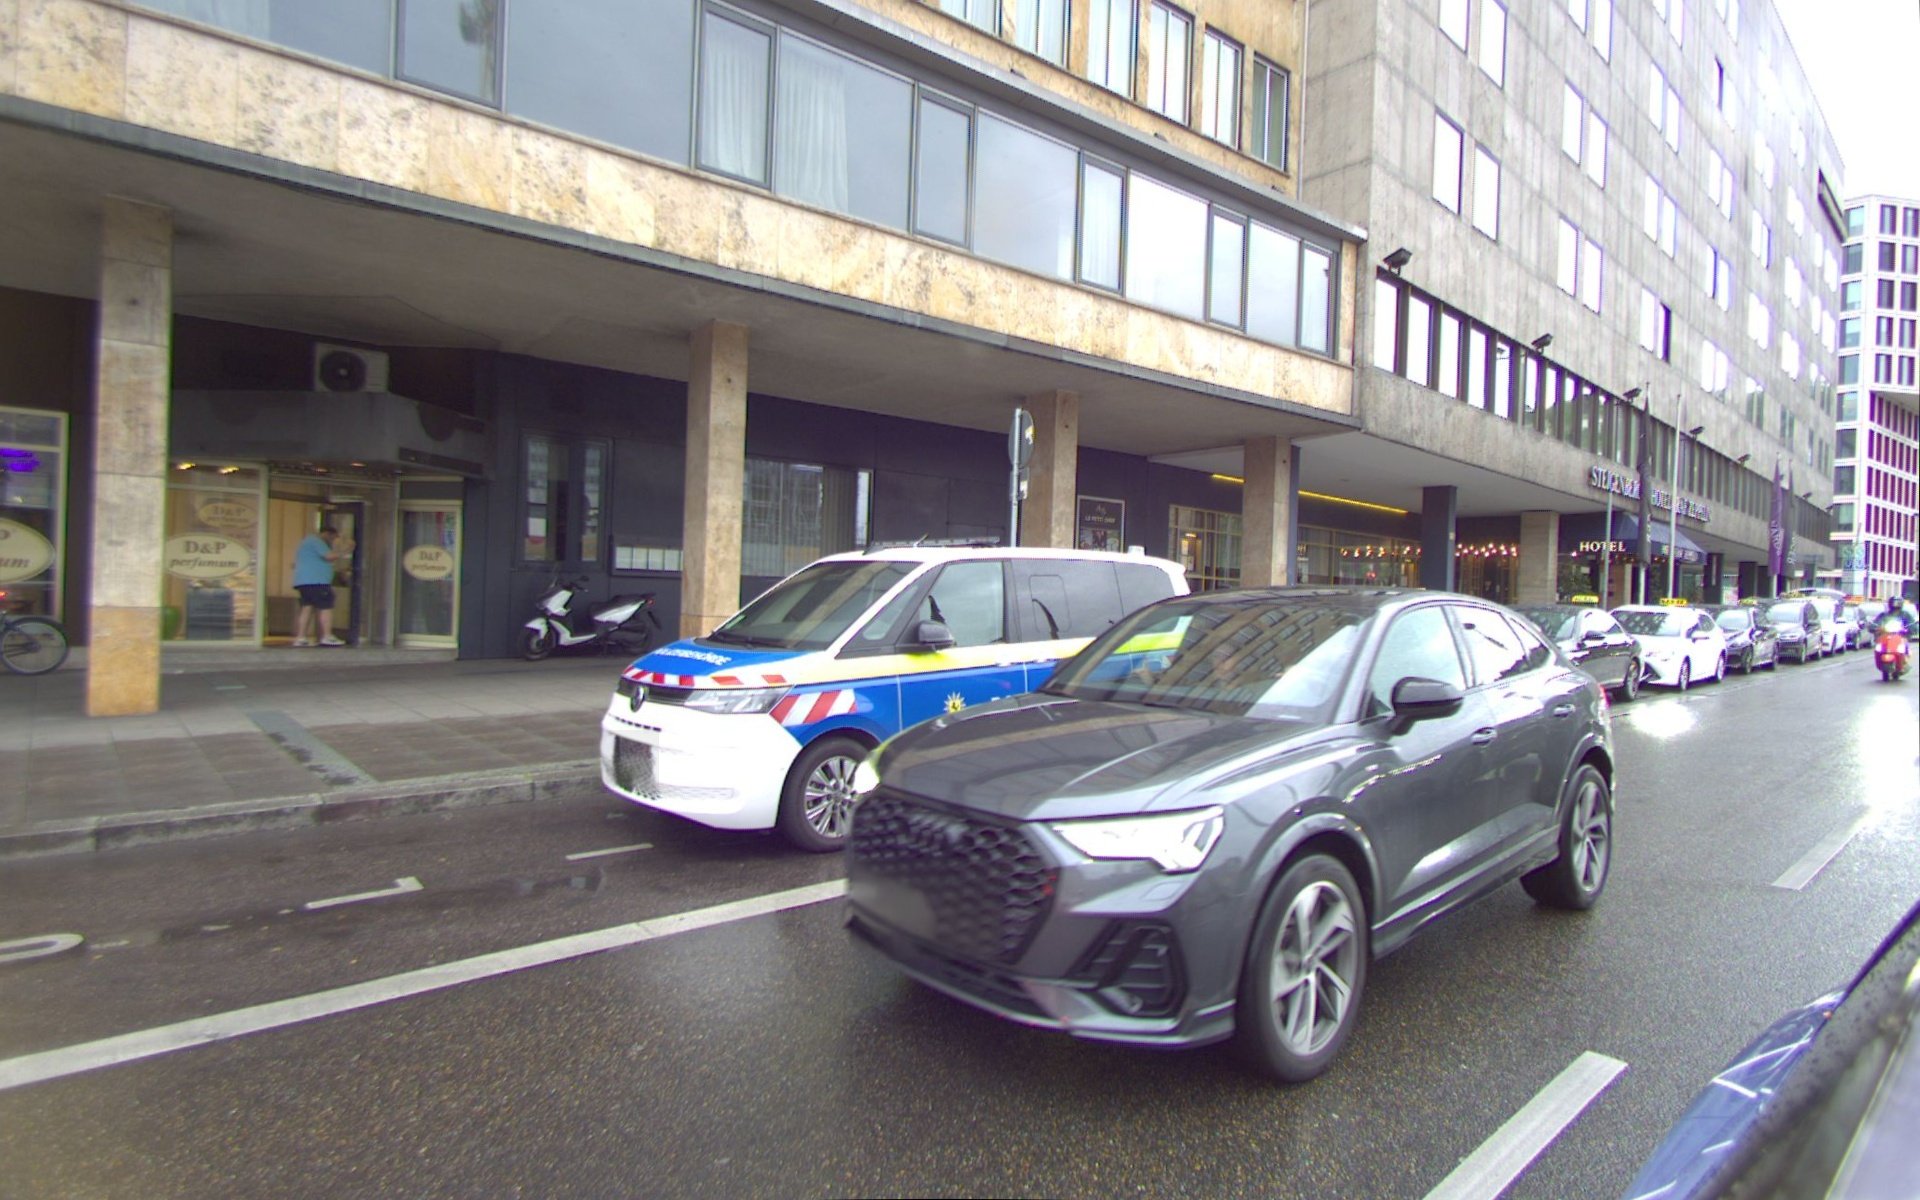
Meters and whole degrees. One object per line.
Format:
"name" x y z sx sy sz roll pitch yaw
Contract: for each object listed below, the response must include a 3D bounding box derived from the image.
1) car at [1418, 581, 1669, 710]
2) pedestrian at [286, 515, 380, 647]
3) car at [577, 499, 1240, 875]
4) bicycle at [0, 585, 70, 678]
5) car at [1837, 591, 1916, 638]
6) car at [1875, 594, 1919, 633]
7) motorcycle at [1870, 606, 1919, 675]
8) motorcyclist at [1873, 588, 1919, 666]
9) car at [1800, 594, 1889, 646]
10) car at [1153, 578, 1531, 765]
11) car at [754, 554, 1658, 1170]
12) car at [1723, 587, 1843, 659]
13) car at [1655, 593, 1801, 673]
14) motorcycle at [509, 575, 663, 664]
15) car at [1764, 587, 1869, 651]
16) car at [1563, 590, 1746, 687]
"car" 8.914 0.572 15.285 4.731 1.658 1.877 0 0 -41
"pedestrian" -8.996 -0.260 14.529 1.114 1.813 0.801 0 0 -33
"car" -0.096 0.429 7.553 4.850 1.944 1.877 0 0 -41
"bicycle" -11.655 0.360 11.401 2.428 1.059 0.657 0 0 -41
"car" 33.658 0.481 37.143 3.932 1.634 1.729 0 0 -41
"car" 41.195 0.543 43.930 3.932 1.634 1.729 0 0 -41
"motorcycle" 19.220 0.799 20.558 1.931 1.323 0.848 0 0 -41
"motorcyclist" 19.221 0.533 20.581 0.829 1.547 0.860 0 0 -40
"car" 29.696 0.618 33.944 3.932 1.634 1.729 0 0 -41
"car" 4.445 0.614 11.313 4.924 1.658 1.877 0 0 -41
"car" 1.417 0.628 4.614 4.266 1.520 1.882 0 0 -41
"car" 21.905 0.539 26.873 4.731 1.764 1.729 0 0 -41
"car" 17.386 0.658 22.826 4.731 1.612 1.729 0 0 -41
"motorcycle" -5.497 0.265 14.949 2.063 1.233 0.569 0 0 -33
"car" 25.688 0.503 30.307 4.731 1.764 1.729 0 0 -41
"car" 13.129 0.621 19.013 4.731 1.612 1.729 0 0 -41
